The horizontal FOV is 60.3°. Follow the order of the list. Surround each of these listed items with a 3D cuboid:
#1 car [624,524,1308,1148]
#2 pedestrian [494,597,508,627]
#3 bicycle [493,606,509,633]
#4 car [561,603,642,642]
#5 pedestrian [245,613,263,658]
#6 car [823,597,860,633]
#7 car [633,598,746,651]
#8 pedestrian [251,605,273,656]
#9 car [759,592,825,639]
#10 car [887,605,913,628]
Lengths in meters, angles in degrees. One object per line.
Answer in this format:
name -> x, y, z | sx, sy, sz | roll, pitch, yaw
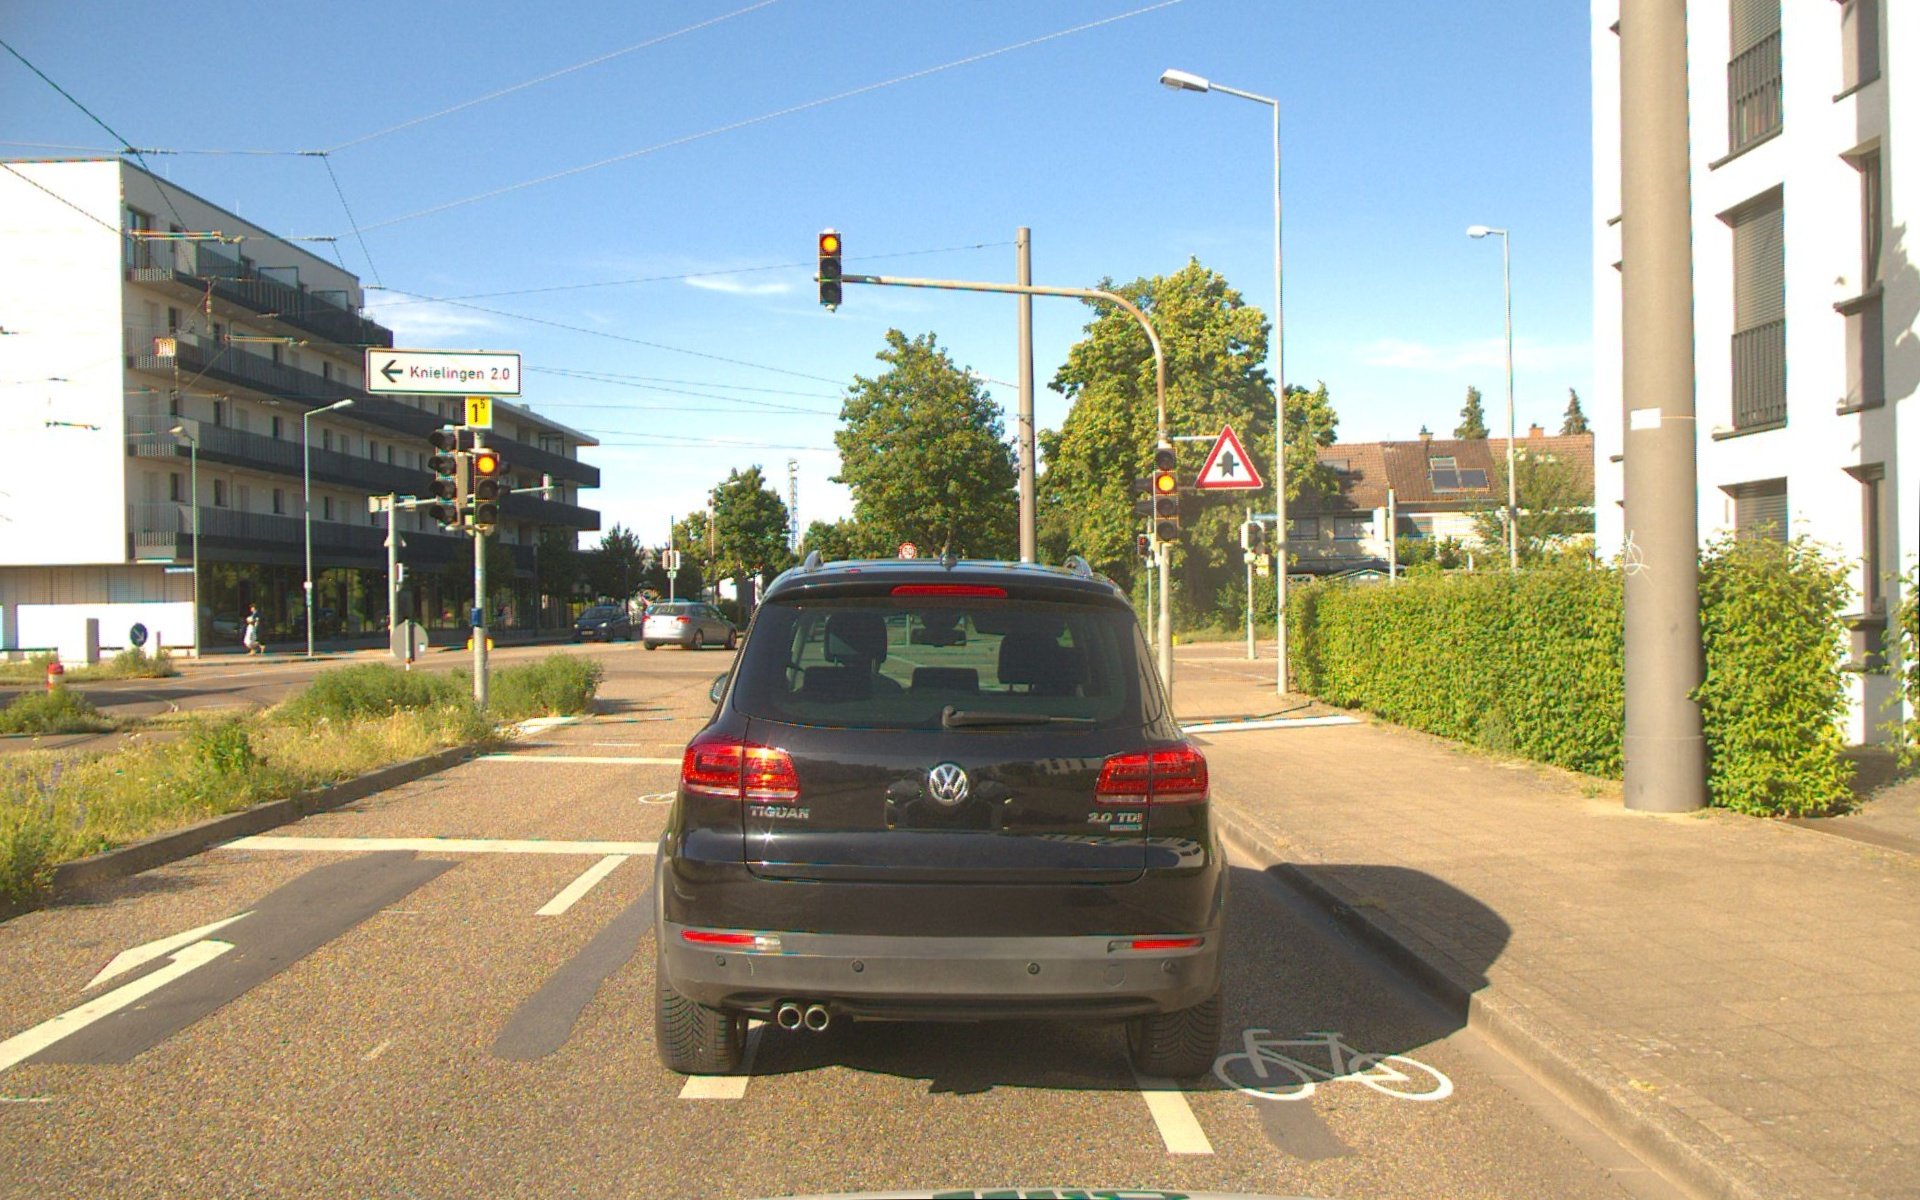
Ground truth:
car -> -0.007, 0.652, 6.490 | 1.831, 1.666, 3.999 | 1, 0, -1
pedestrian -> -23.315, 0.609, 84.030 | 0.631, 1.535, 0.594 | 1, -1, -13
bicycle -> -23.296, 0.972, 83.969 | 0.619, 1.355, 1.907 | 1, 0, -12
car -> -15.349, 0.941, 71.109 | 1.951, 1.601, 4.343 | 1, 0, 9
pedestrian -> -24.369, 1.216, 57.095 | 0.433, 1.529, 0.517 | 1, -1, -6
car -> -6.374, 0.777, 88.887 | 1.954, 1.869, 3.996 | 1, 0, -4
car -> -8.226, 0.732, 50.681 | 1.824, 1.511, 4.113 | -1, 0, 16
pedestrian -> -24.353, 1.072, 57.706 | 0.532, 1.774, 0.517 | 1, -1, -6
car -> -6.544, 0.586, 64.615 | 1.824, 1.750, 3.689 | -1, 0, 6
car -> -4.679, 1.259, 128.897 | 1.953, 1.713, 3.998 | 1, 0, -2
